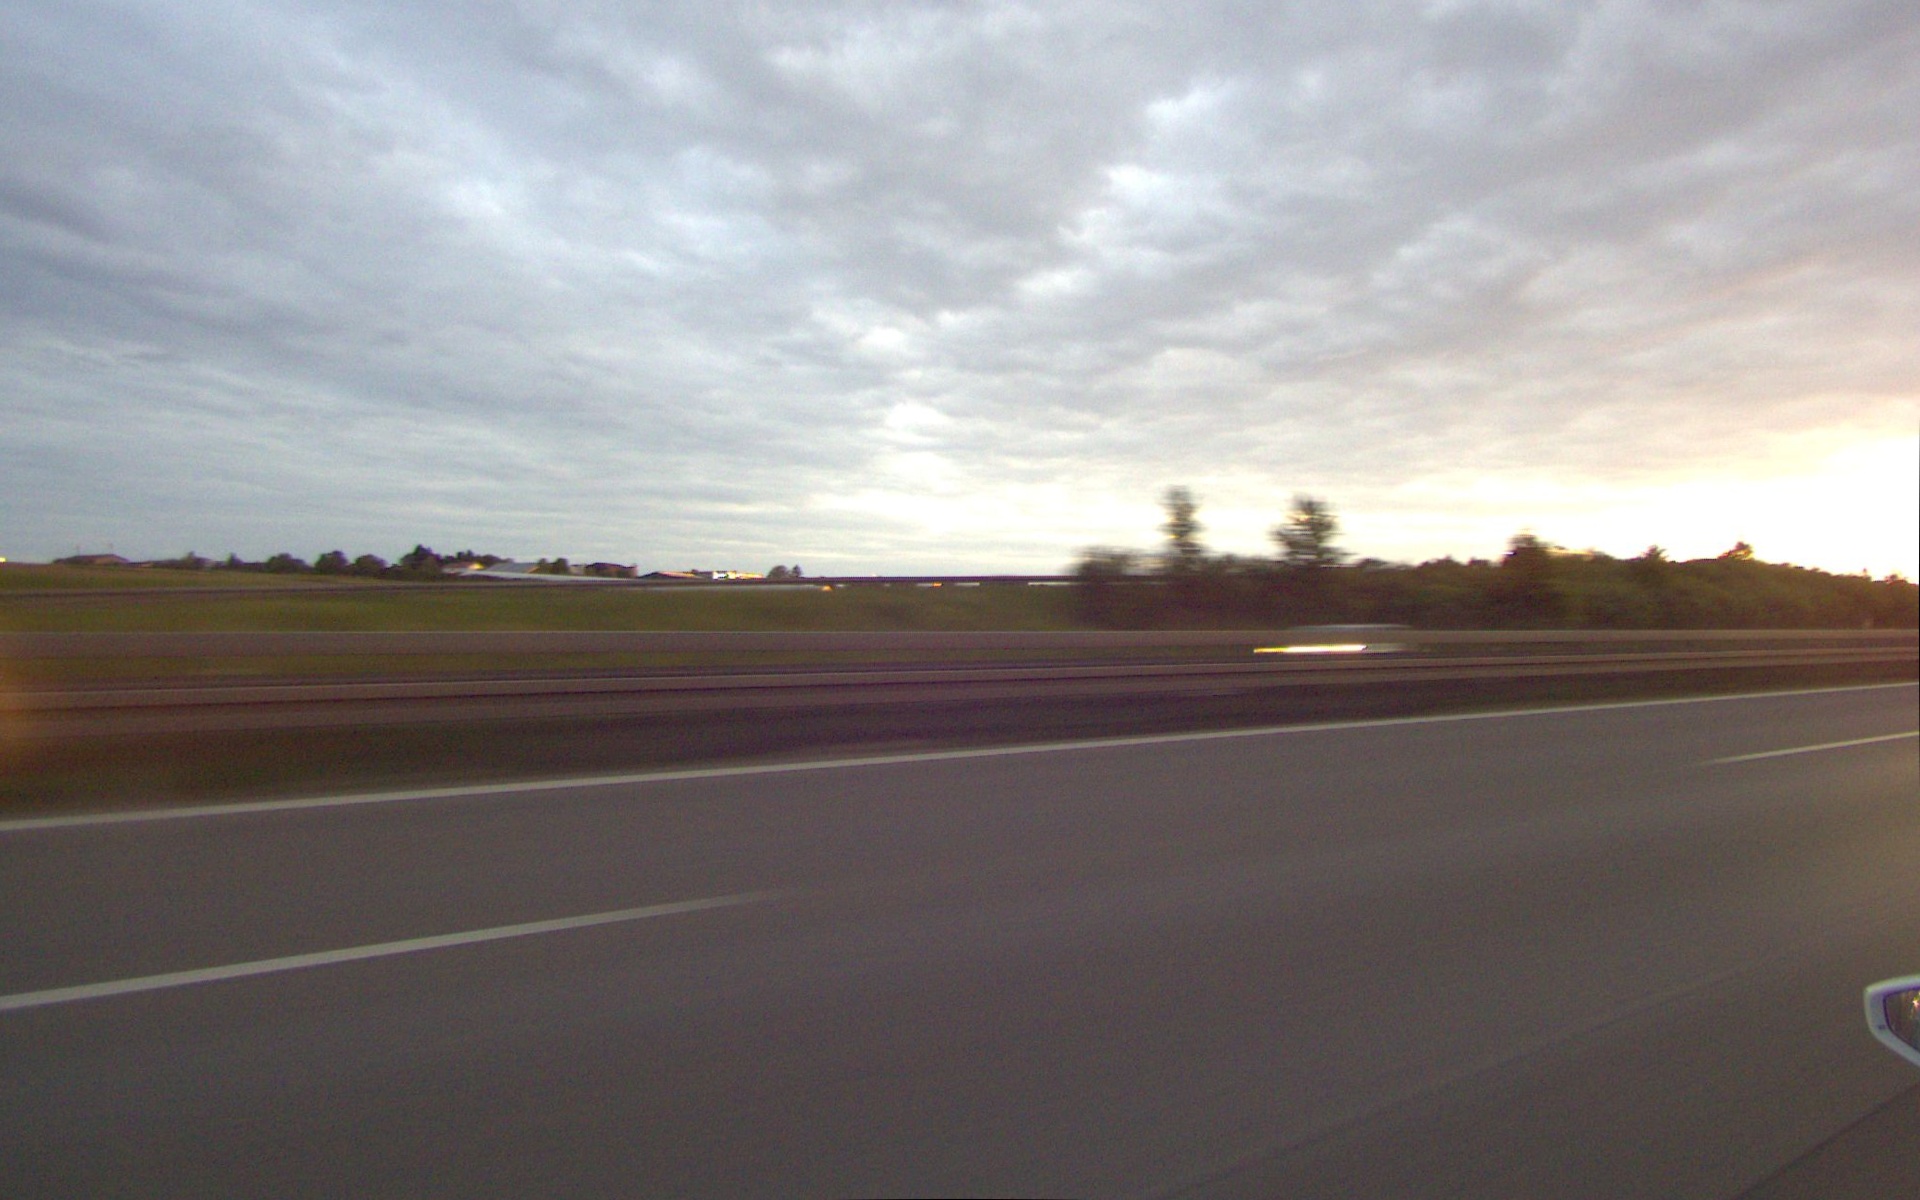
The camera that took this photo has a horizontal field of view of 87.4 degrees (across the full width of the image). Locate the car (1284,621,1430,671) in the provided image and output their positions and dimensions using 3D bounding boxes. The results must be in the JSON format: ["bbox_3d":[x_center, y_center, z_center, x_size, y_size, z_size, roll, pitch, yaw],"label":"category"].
[{"bbox_3d":[11.921,1.345,30.146,4.126,1.367,1.984,1,-1,-30],"label":"car"}]

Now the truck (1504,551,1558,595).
[{"bbox_3d":[57.095,-2.643,100.400,5.424,4.125,2.672,1,-1,-36],"label":"truck"}]

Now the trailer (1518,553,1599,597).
[{"bbox_3d":[62.124,-2.506,104.083,12.371,4.125,2.672,1,-1,-36],"label":"trailer"}]
